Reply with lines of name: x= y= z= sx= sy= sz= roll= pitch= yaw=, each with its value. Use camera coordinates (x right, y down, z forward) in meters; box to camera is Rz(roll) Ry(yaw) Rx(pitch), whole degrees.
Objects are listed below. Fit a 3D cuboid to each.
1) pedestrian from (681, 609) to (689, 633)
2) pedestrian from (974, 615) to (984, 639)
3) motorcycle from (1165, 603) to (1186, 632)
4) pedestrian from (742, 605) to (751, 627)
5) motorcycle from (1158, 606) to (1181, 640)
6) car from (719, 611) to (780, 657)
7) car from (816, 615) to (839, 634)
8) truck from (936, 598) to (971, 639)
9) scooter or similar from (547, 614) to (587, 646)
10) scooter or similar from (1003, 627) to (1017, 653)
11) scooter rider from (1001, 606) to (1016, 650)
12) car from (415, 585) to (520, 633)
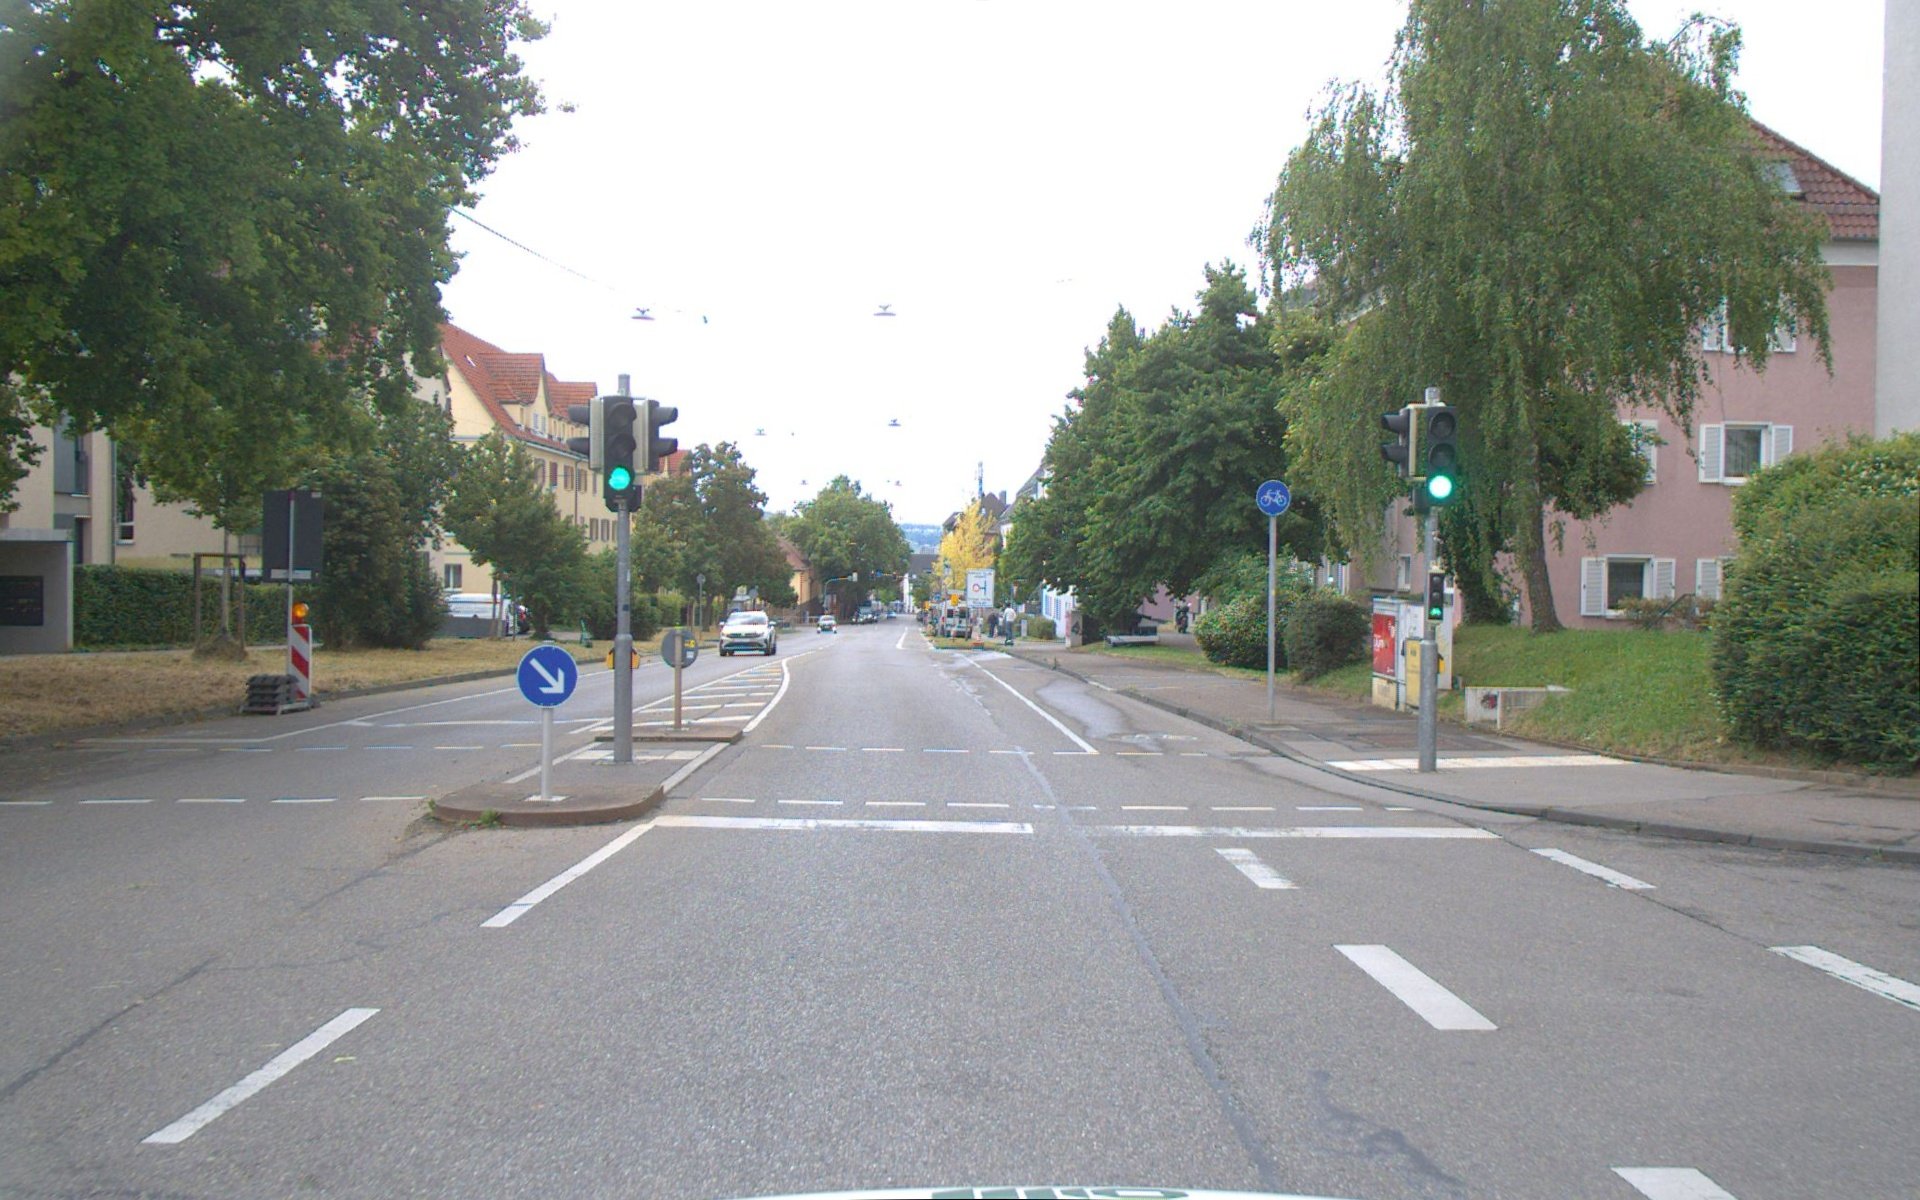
pedestrian: x=-21.439 y=1.623 z=128.829 sx=0.503 sy=1.811 sz=0.753 roll=1 pitch=-1 yaw=-2
pedestrian: x=1.320 y=1.863 z=114.610 sx=0.567 sy=1.673 sz=0.559 roll=1 pitch=-2 yaw=-16
motorcycle: x=9.433 y=0.774 z=72.424 sx=0.578 sy=1.249 sz=1.966 roll=1 pitch=-1 yaw=-2
pedestrian: x=-17.808 y=1.343 z=138.144 sx=0.585 sy=1.757 sz=0.861 roll=2 pitch=-1 yaw=1
motorcycle: x=10.032 y=1.106 z=79.348 sx=0.716 sy=1.596 sz=2.549 roll=1 pitch=-1 yaw=-1
car: x=-7.222 y=1.144 z=57.064 sx=1.766 sy=1.490 sz=4.027 roll=-1 pitch=0 yaw=-3
car: x=-12.150 y=2.246 z=151.950 sx=1.861 sy=1.648 sz=4.360 roll=1 pitch=0 yaw=-1
truck: x=-0.456 y=1.195 z=107.736 sx=2.011 sy=2.610 sz=5.686 roll=1 pitch=0 yaw=-3
scooter or similar: x=-13.855 y=1.053 z=58.317 sx=1.343 sy=1.105 sz=0.466 roll=0 pitch=0 yaw=-7
scooter or similar: x=2.380 y=1.901 z=78.317 sx=0.481 sy=1.183 sz=2.073 roll=1 pitch=-1 yaw=-2
scooter rider: x=2.320 y=1.317 z=78.406 sx=0.613 sy=2.049 sz=0.757 roll=1 pitch=-1 yaw=-3
car: x=-24.745 y=0.463 z=83.198 sx=4.622 sy=2.293 sz=1.994 roll=1 pitch=-1 yaw=-2
